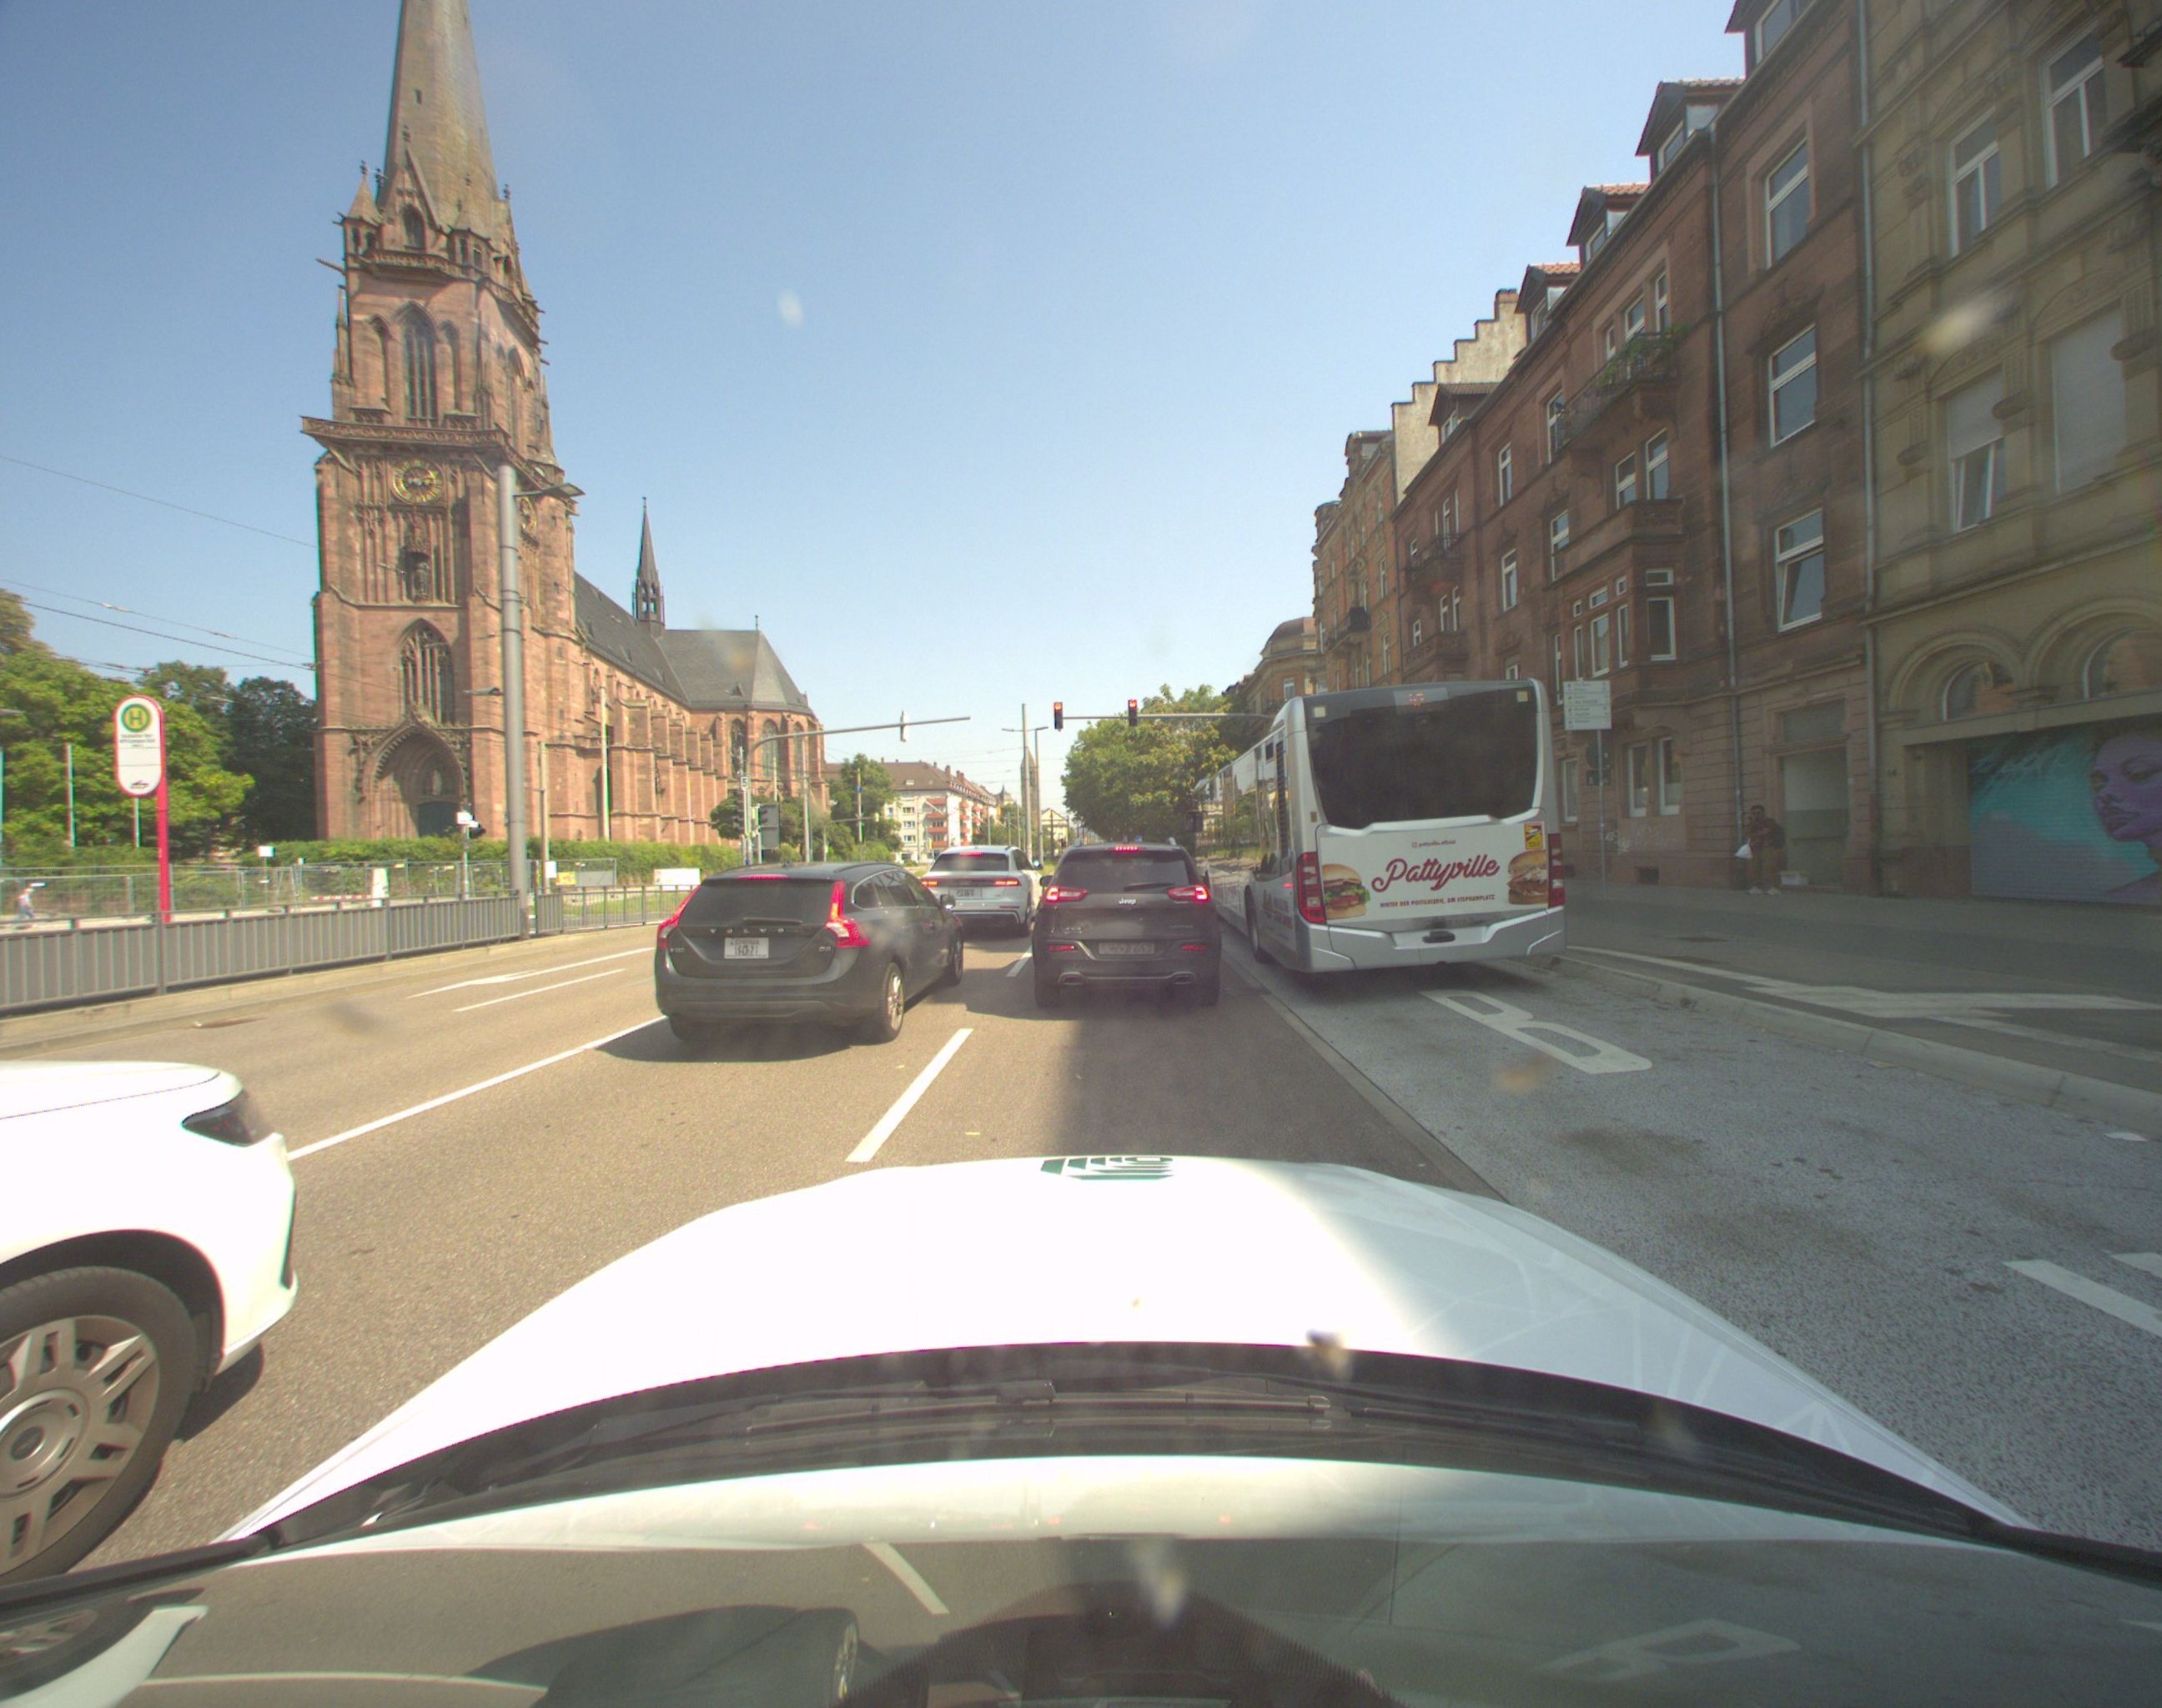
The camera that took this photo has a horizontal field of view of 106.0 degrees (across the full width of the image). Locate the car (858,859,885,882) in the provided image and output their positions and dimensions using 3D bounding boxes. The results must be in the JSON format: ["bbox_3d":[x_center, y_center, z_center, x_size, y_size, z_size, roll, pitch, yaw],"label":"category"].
[{"bbox_3d":[-15.212,1.178,59.004,1.750,1.435,4.547,-4,0,-16],"label":"car"}]

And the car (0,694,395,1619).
[{"bbox_3d":[-3.054,0.612,0.382,1.741,1.820,4.241,-1,0,2],"label":"car"}]

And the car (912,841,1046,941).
[{"bbox_3d":[-1.811,0.603,15.878,1.895,1.651,4.310,-1,0,2],"label":"car"}]

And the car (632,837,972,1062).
[{"bbox_3d":[-2.323,0.689,8.074,1.741,1.614,4.310,-1,0,2],"label":"car"}]

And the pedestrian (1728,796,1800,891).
[{"bbox_3d":[13.250,-0.205,15.803,0.872,1.778,0.737,-2,0,-26],"label":"pedestrian"}]

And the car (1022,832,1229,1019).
[{"bbox_3d":[0.506,0.634,9.428,1.825,1.651,4.311,-1,0,3],"label":"car"}]

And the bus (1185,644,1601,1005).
[{"bbox_3d":[3.618,-0.270,13.455,2.732,3.107,11.966,-5,0,3],"label":"bus"}]
